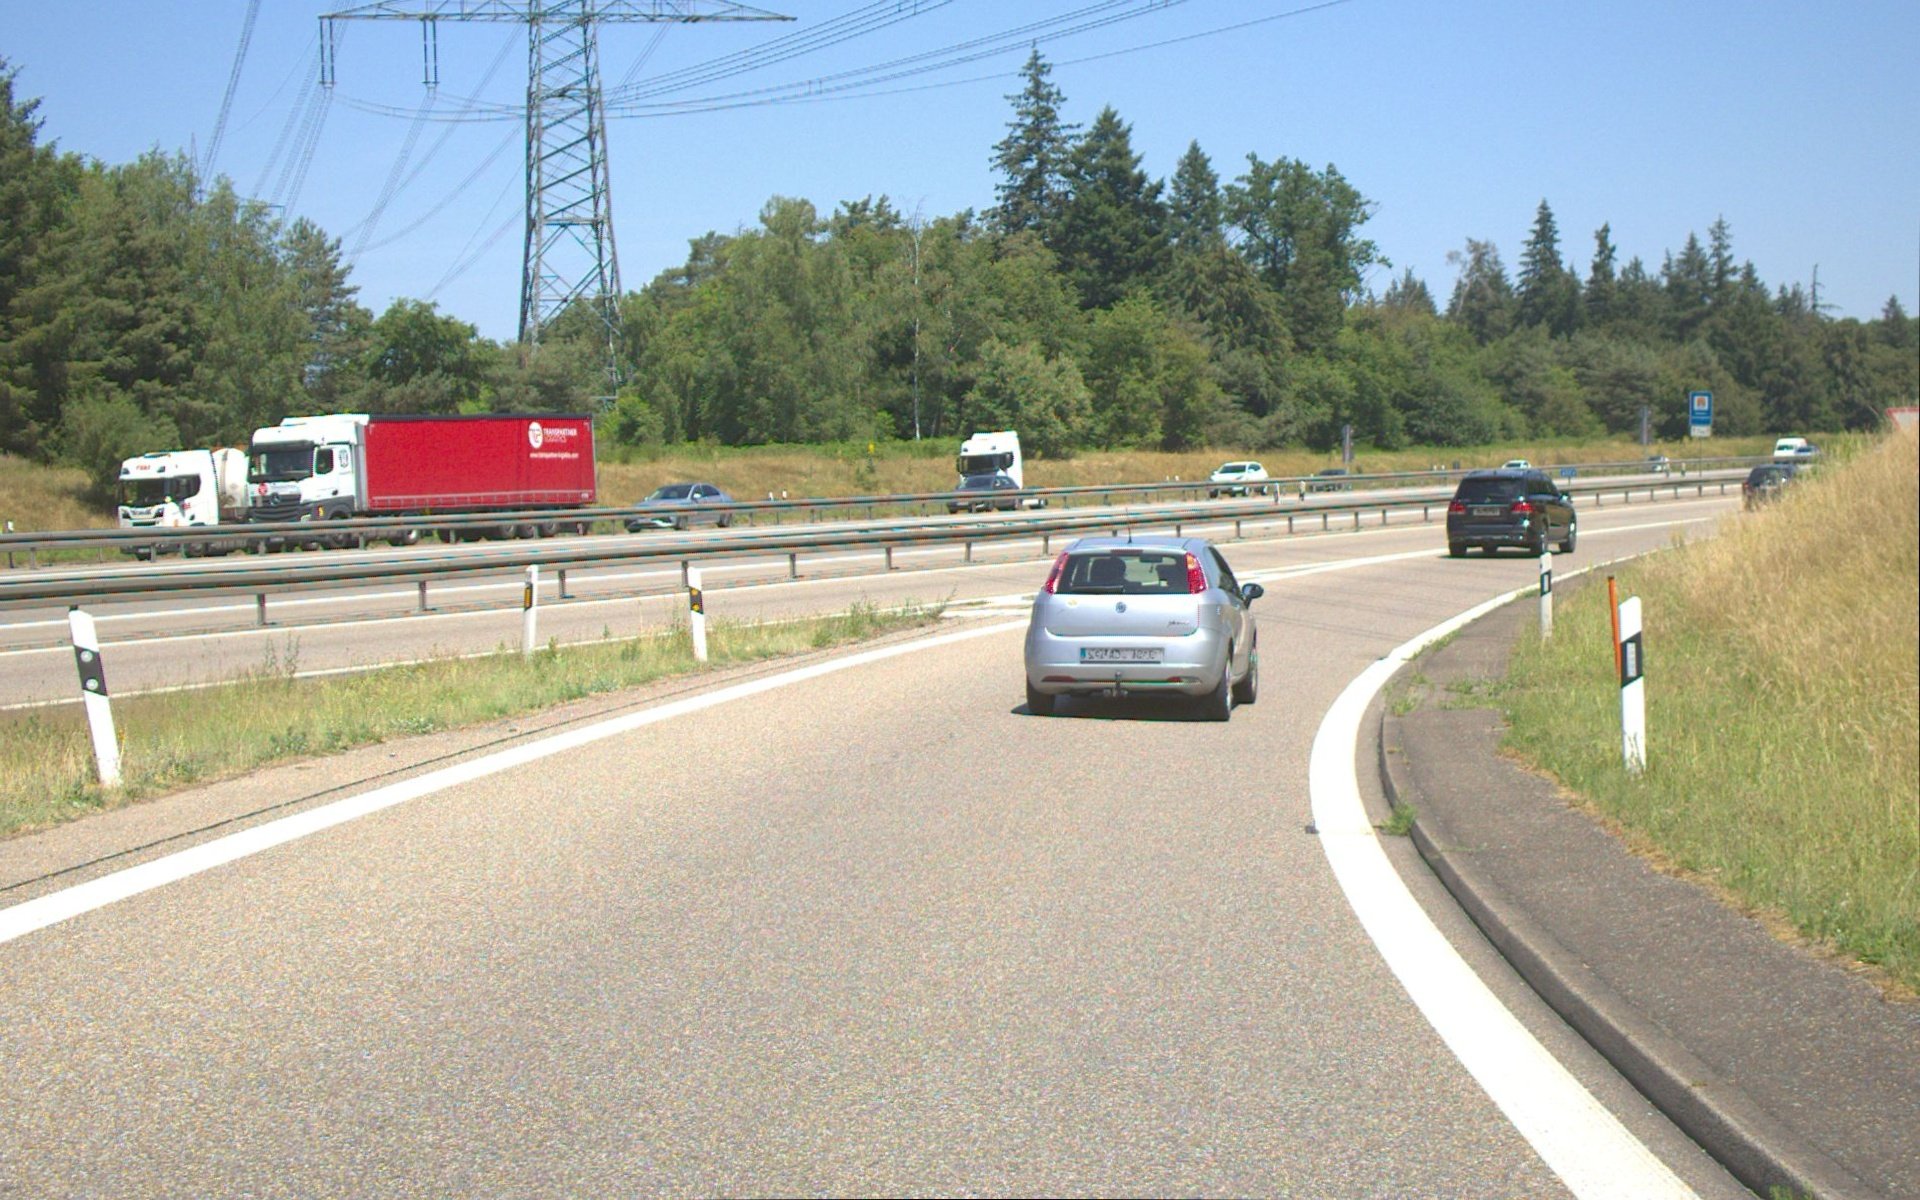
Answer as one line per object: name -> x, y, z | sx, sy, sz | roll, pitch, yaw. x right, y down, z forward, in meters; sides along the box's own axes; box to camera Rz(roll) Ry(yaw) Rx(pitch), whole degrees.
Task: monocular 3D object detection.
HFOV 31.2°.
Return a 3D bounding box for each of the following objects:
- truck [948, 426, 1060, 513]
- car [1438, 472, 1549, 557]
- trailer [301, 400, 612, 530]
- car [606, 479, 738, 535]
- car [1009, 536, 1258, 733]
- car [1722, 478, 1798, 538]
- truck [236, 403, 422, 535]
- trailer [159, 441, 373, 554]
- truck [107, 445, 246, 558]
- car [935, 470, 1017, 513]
truck -> 2.308, -6.672, 176.718 | 2.864, 4.330, 7.521 | 0, 1, 26
car -> 10.880, -1.725, 69.932 | 1.708, 1.670, 3.395 | 0, 1, 18
trailer -> -15.796, -4.408, 109.600 | 2.545, 3.784, 13.724 | 0, 3, 25
car -> -8.866, -2.860, 106.114 | 1.774, 1.678, 4.818 | 0, 1, 27
car -> 1.514, 0.236, 28.884 | 1.707, 1.476, 3.397 | 2, 2, 9
car -> 24.662, -2.850, 105.907 | 1.883, 1.678, 3.997 | -3, 1, 17
truck -> -18.870, -3.970, 103.069 | 2.545, 3.784, 5.661 | 0, 3, 25
trailer -> -25.194, -3.797, 125.343 | 2.776, 3.784, 8.926 | 0, 3, 25
truck -> -27.444, -3.478, 120.557 | 2.771, 3.784, 3.995 | 0, 3, 25
car -> 0.656, -4.284, 136.352 | 1.774, 1.678, 3.685 | 0, 1, 27
